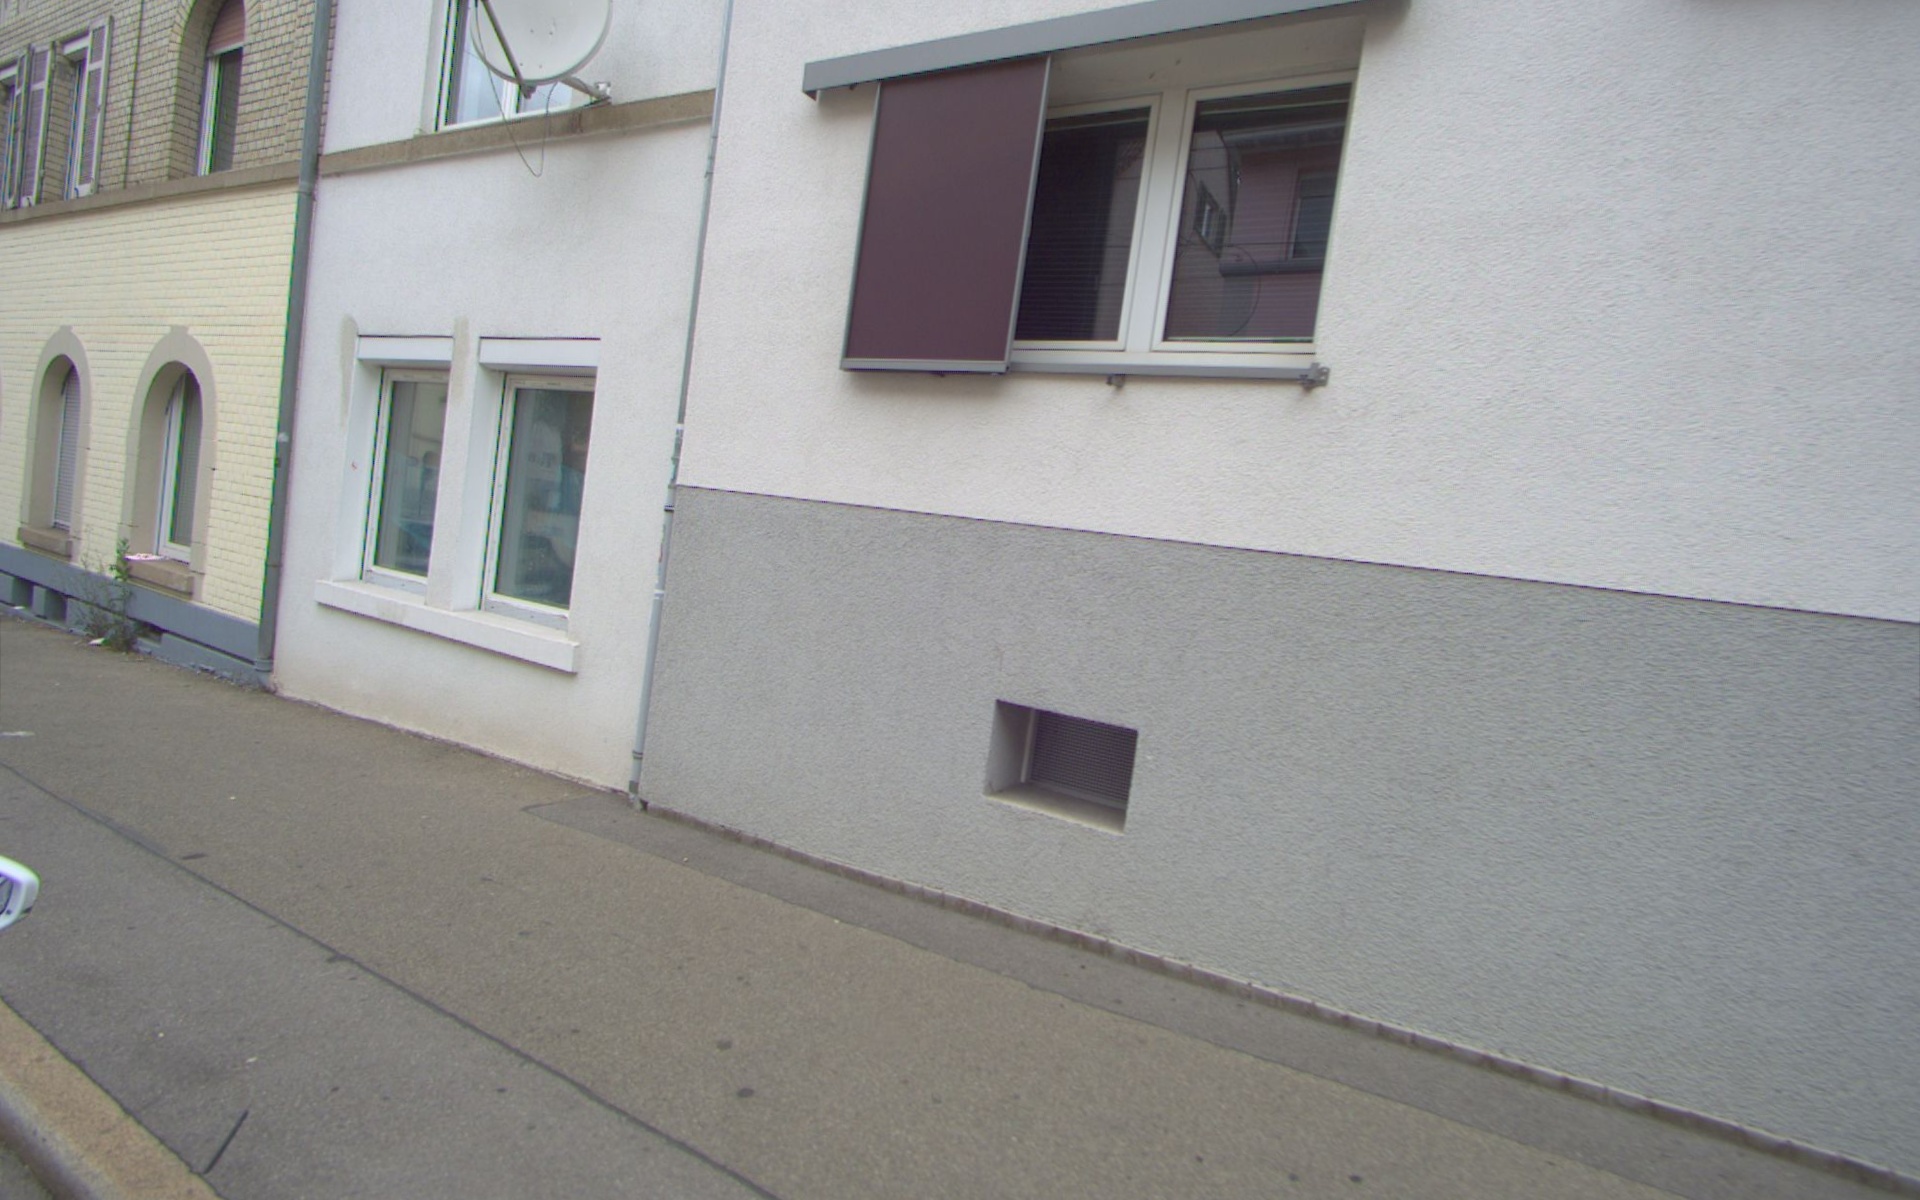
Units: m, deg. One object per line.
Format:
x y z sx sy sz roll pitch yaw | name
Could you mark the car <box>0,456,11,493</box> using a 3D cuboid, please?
-41.701 -5.414 41.345 1.889 1.554 4.127 10 2 -12 | car
